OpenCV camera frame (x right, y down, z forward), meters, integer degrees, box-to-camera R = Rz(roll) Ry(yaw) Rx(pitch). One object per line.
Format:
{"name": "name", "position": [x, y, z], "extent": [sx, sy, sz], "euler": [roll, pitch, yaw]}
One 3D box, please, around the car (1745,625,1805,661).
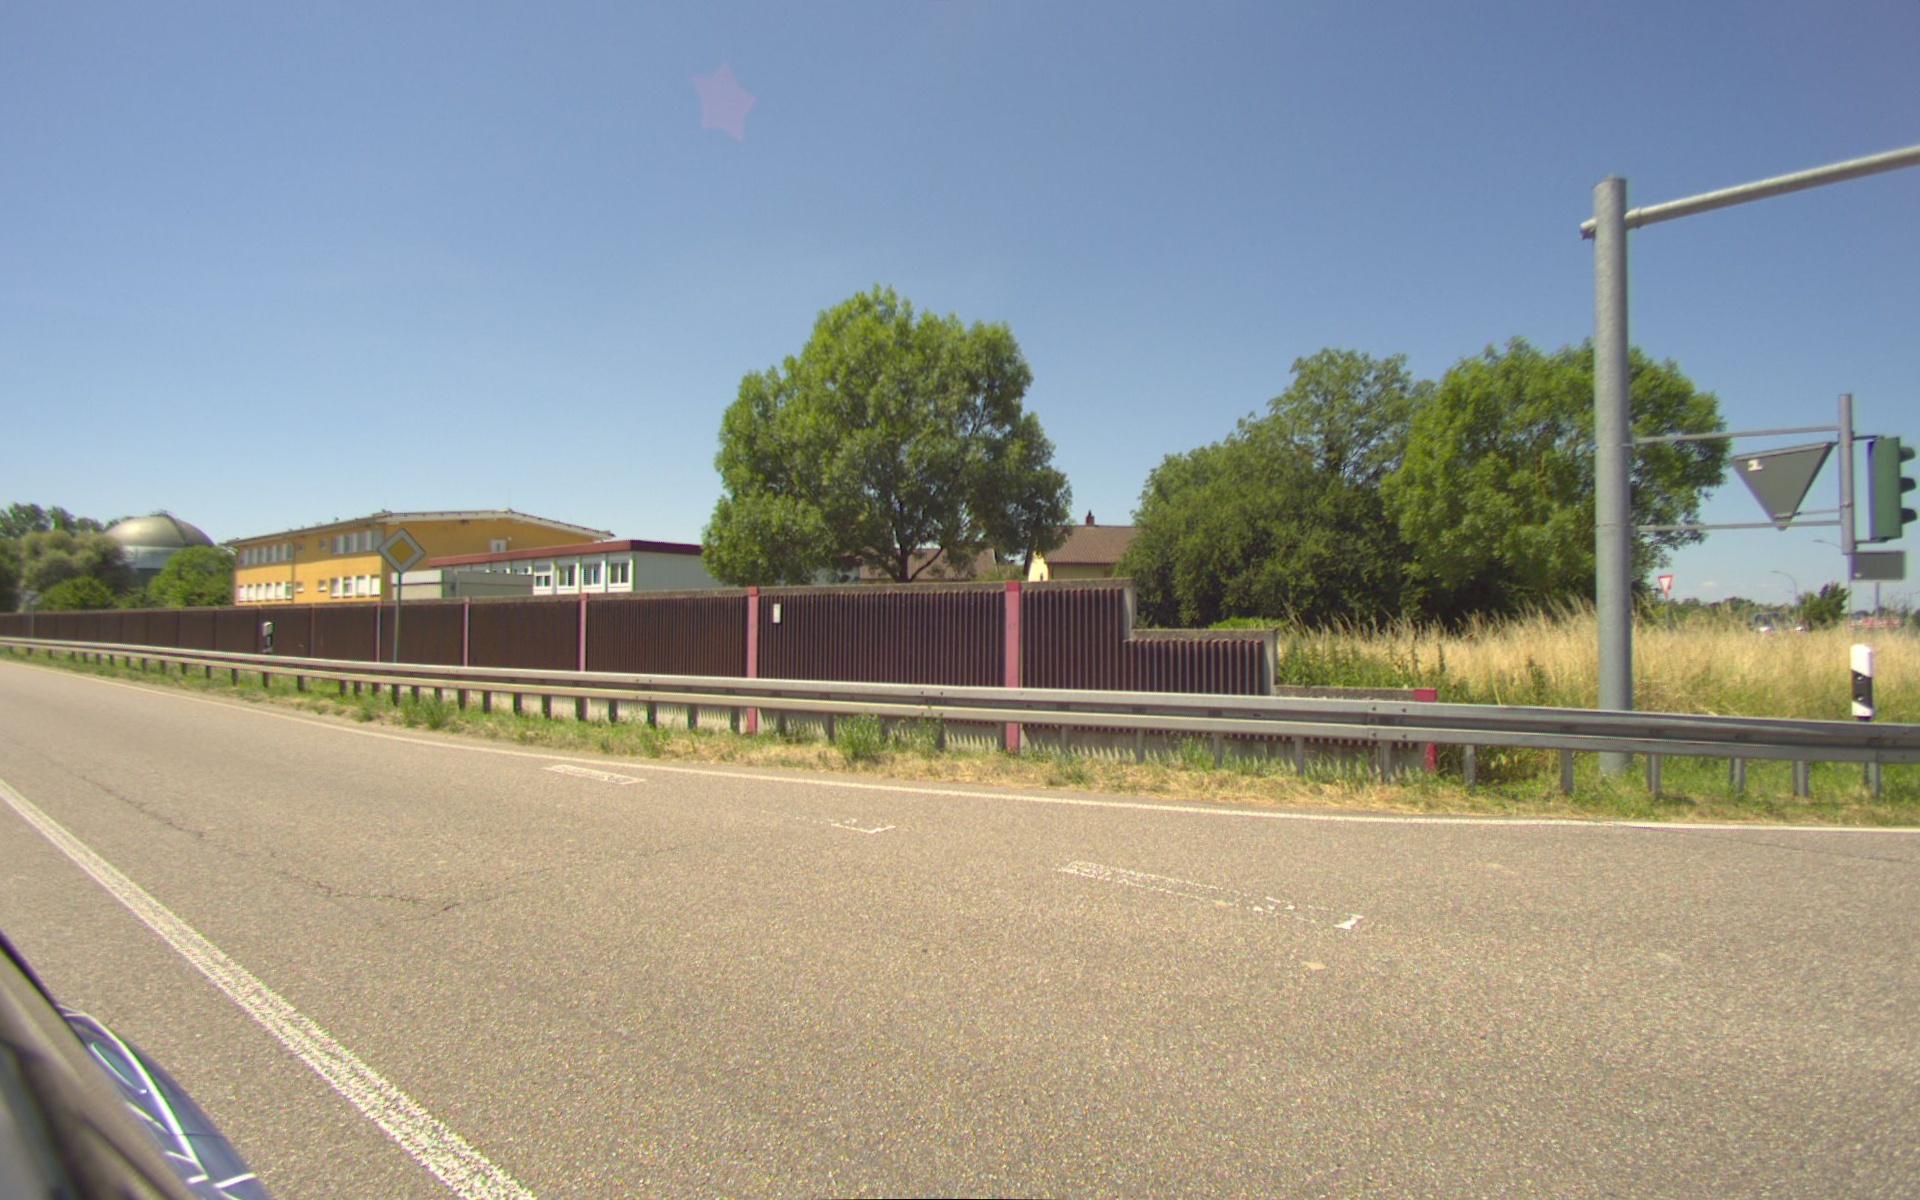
{"name": "car", "position": [39.838, 2.088, 49.568], "extent": [1.765, 1.637, 4.187], "euler": [-2, -2, 32]}
